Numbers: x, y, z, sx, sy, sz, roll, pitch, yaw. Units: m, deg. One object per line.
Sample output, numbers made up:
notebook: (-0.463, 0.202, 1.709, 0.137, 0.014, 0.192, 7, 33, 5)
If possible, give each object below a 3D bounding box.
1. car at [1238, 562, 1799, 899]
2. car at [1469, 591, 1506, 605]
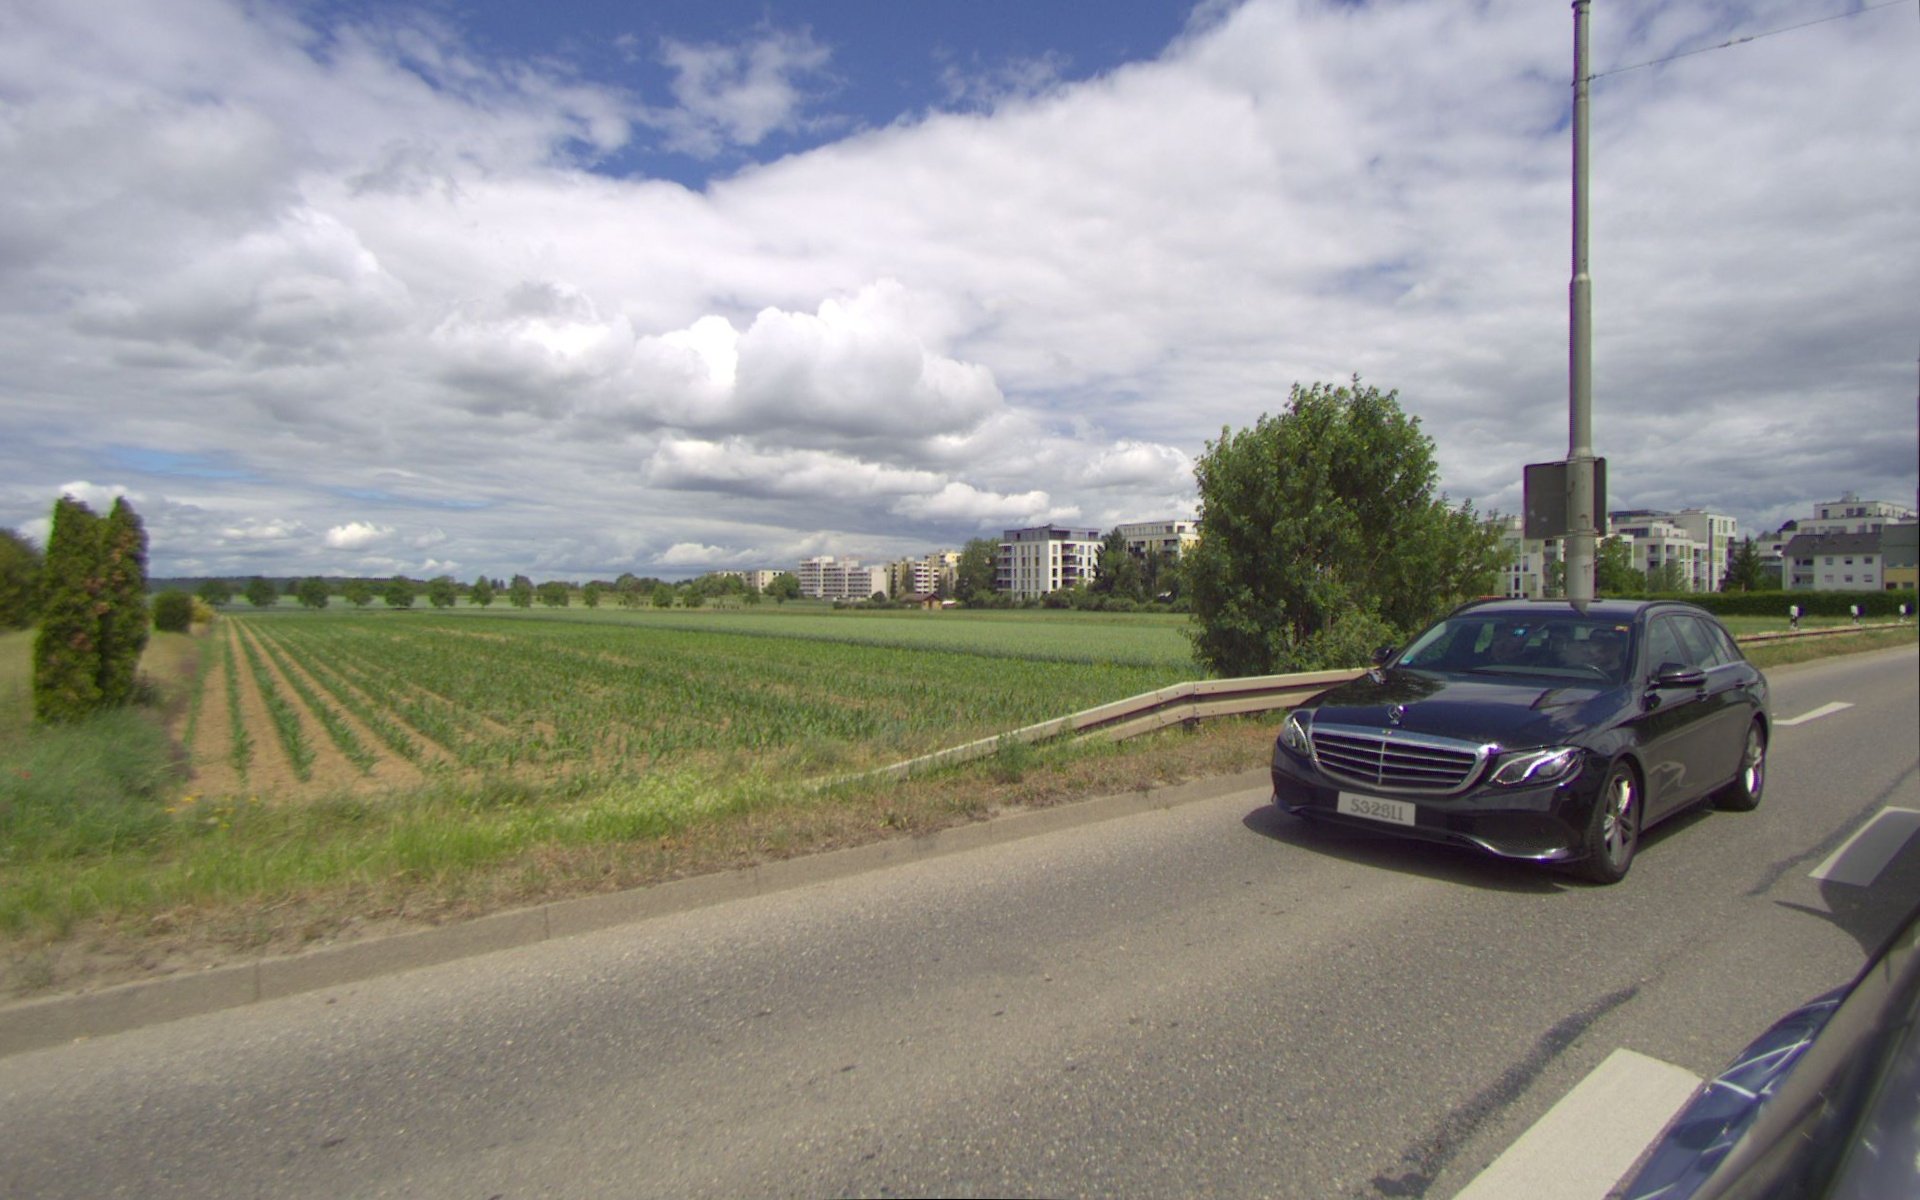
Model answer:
car: (4.064, 0.654, 6.930, 4.720, 1.557, 1.841, 2, -1, -41)
car: (77.041, -0.308, 147.883, 1.964, 2.039, 4.436, -1, 1, -39)
